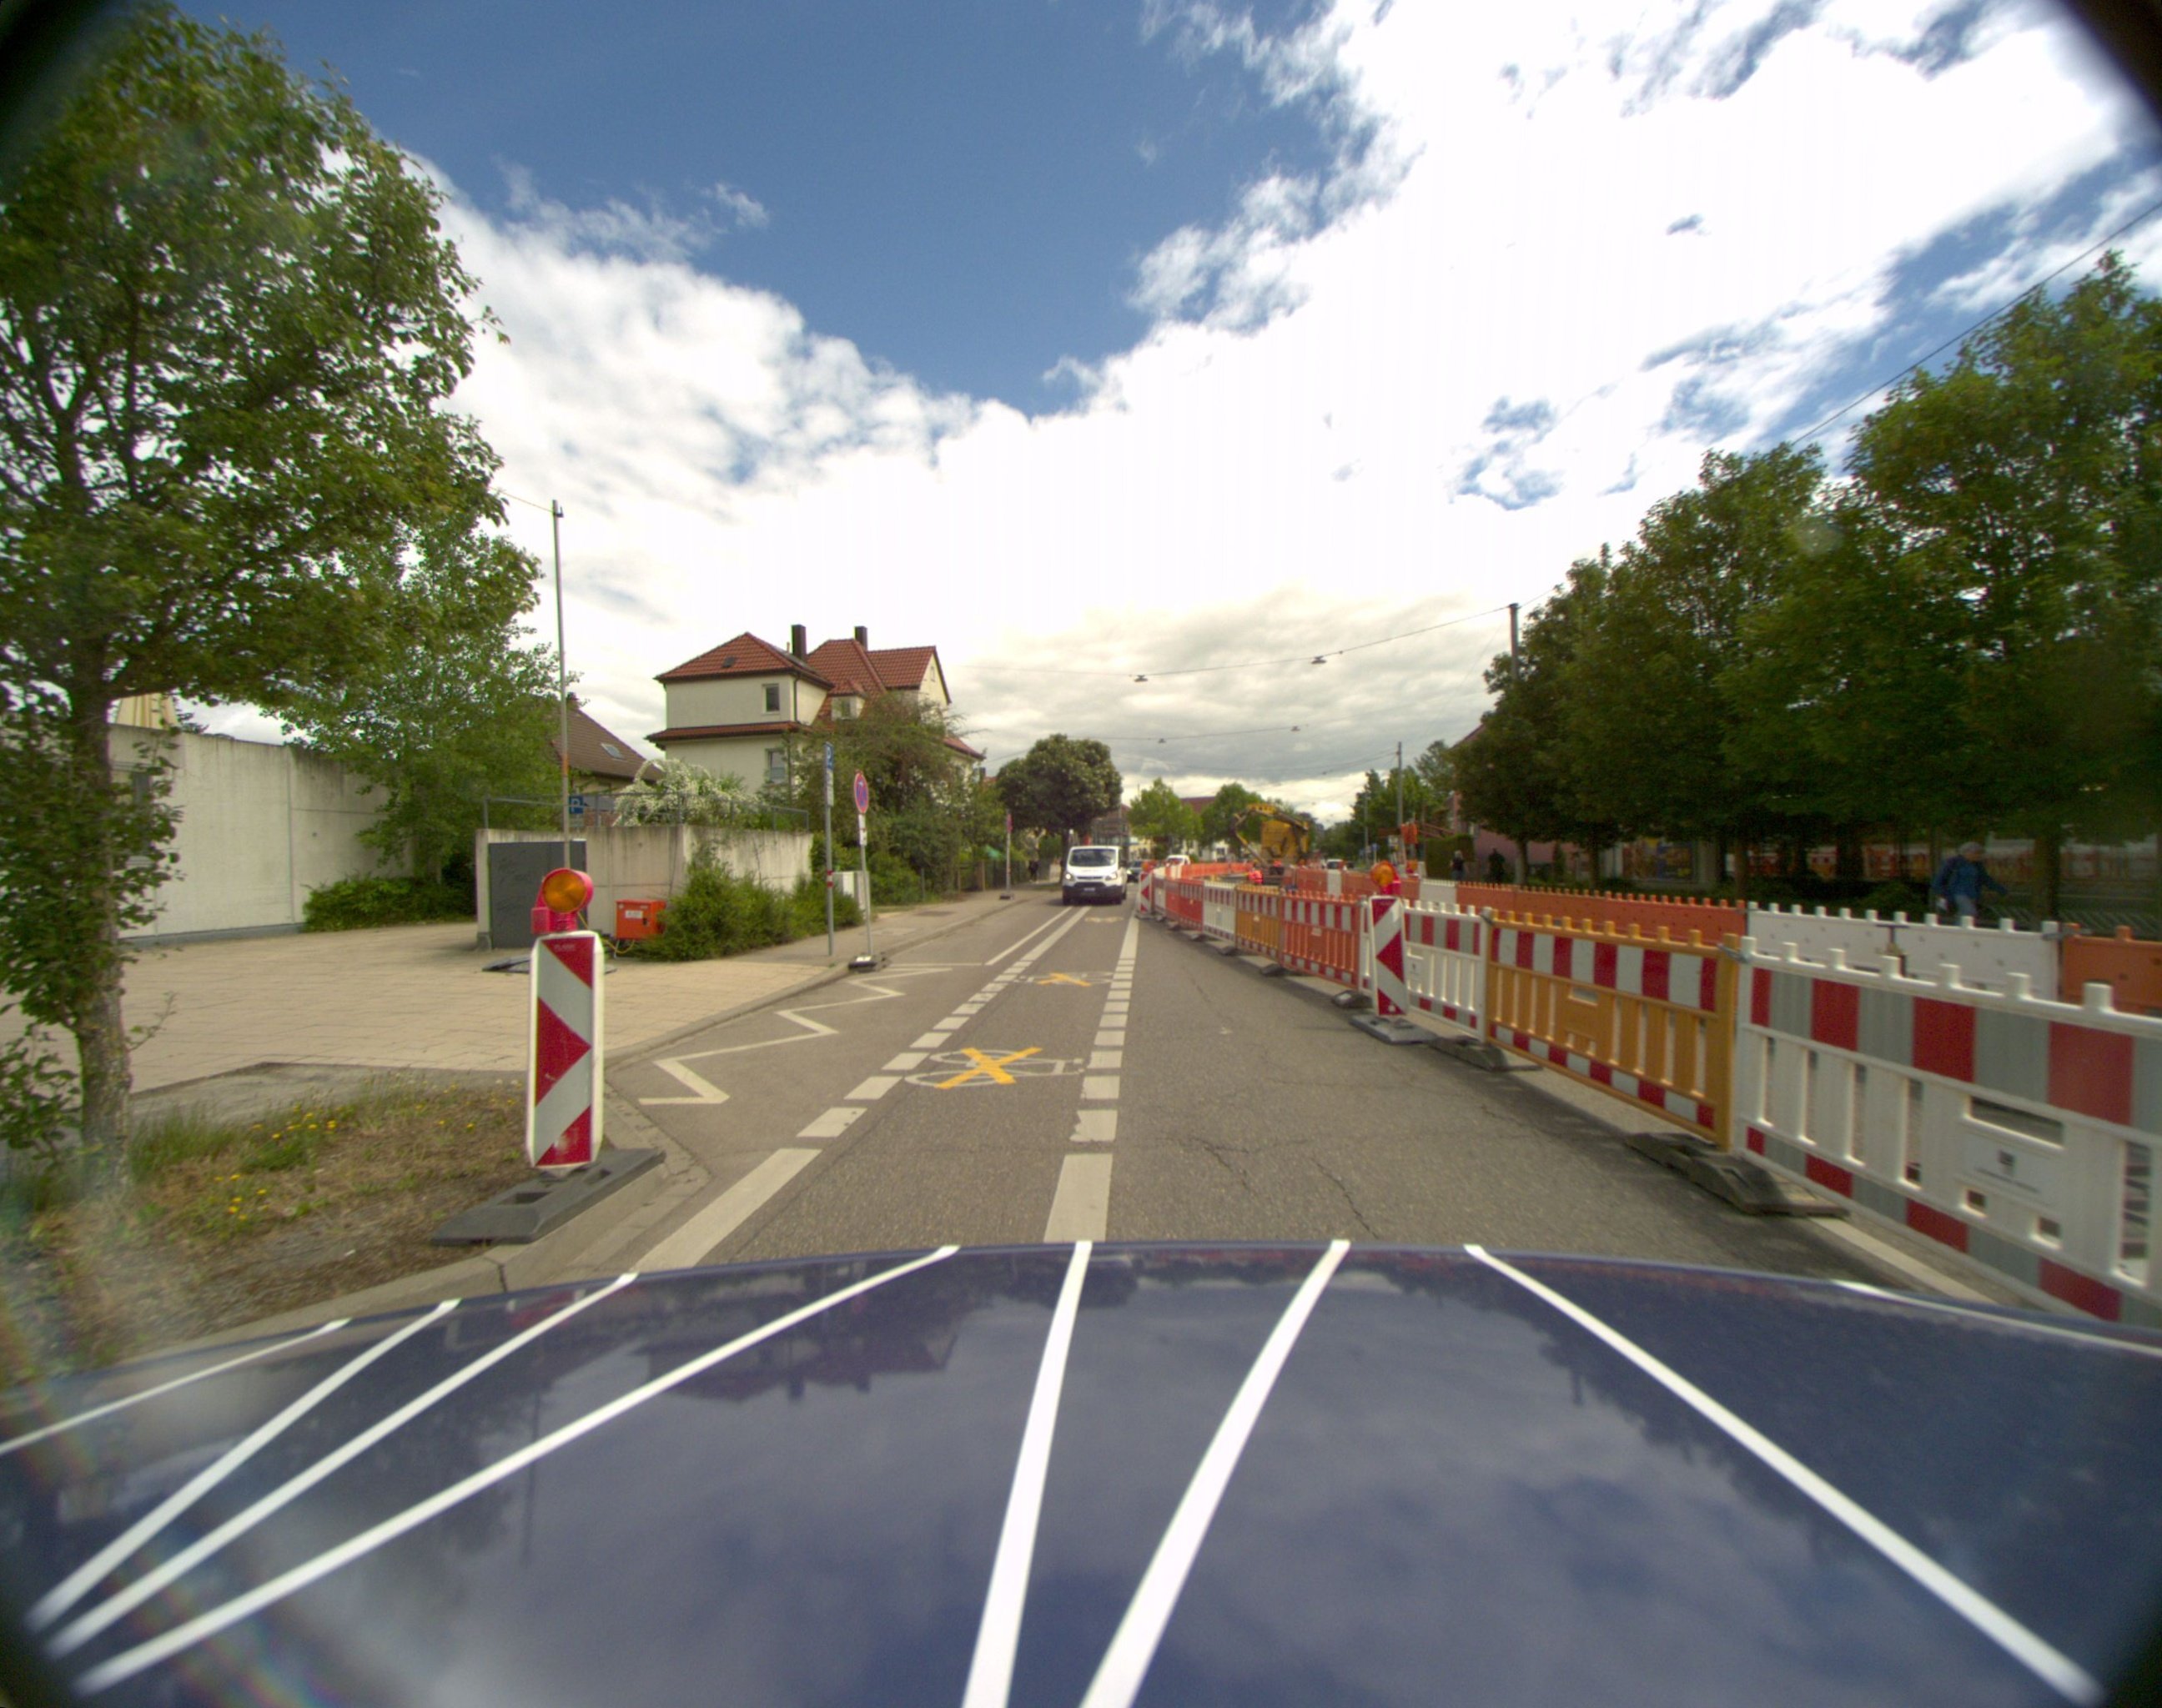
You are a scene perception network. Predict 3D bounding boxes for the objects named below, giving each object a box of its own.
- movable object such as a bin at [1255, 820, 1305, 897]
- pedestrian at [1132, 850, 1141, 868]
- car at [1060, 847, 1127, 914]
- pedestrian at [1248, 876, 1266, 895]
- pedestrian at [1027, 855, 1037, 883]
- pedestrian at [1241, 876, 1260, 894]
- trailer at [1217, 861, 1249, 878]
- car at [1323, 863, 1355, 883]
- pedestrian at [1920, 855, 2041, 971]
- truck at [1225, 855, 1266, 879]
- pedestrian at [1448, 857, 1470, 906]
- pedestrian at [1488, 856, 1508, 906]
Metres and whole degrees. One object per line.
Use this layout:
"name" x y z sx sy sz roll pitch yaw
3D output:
"movable object such as a bin" 12.450 0.309 47.028 2.594 4.196 11.136 0 -1 16
"pedestrian" 4.913 0.451 67.262 0.598 1.573 0.402 -7 -1 20
"car" 0.433 0.843 25.989 1.998 2.001 5.514 -2 -1 1
"pedestrian" 9.348 1.683 40.336 0.641 0.985 0.795 0 0 40
"pedestrian" -2.726 0.849 42.344 0.522 1.530 0.636 0 0 -5
"pedestrian" 9.254 1.687 41.503 0.791 0.985 0.813 0 0 30
"trailer" 20.698 2.096 103.117 2.594 2.231 5.685 -3 -2 28
"car" 20.145 1.495 59.165 1.856 1.444 4.007 -2 -1 25
"pedestrian" 12.913 0.819 10.933 0.754 1.593 0.830 0 0 -1
"truck" 23.747 1.932 110.244 2.346 3.177 6.623 0 -4 -23
"pedestrian" 14.468 1.040 29.070 0.695 1.836 0.624 0 0 30
"pedestrian" 15.603 1.011 28.419 0.625 1.836 0.624 0 0 30
